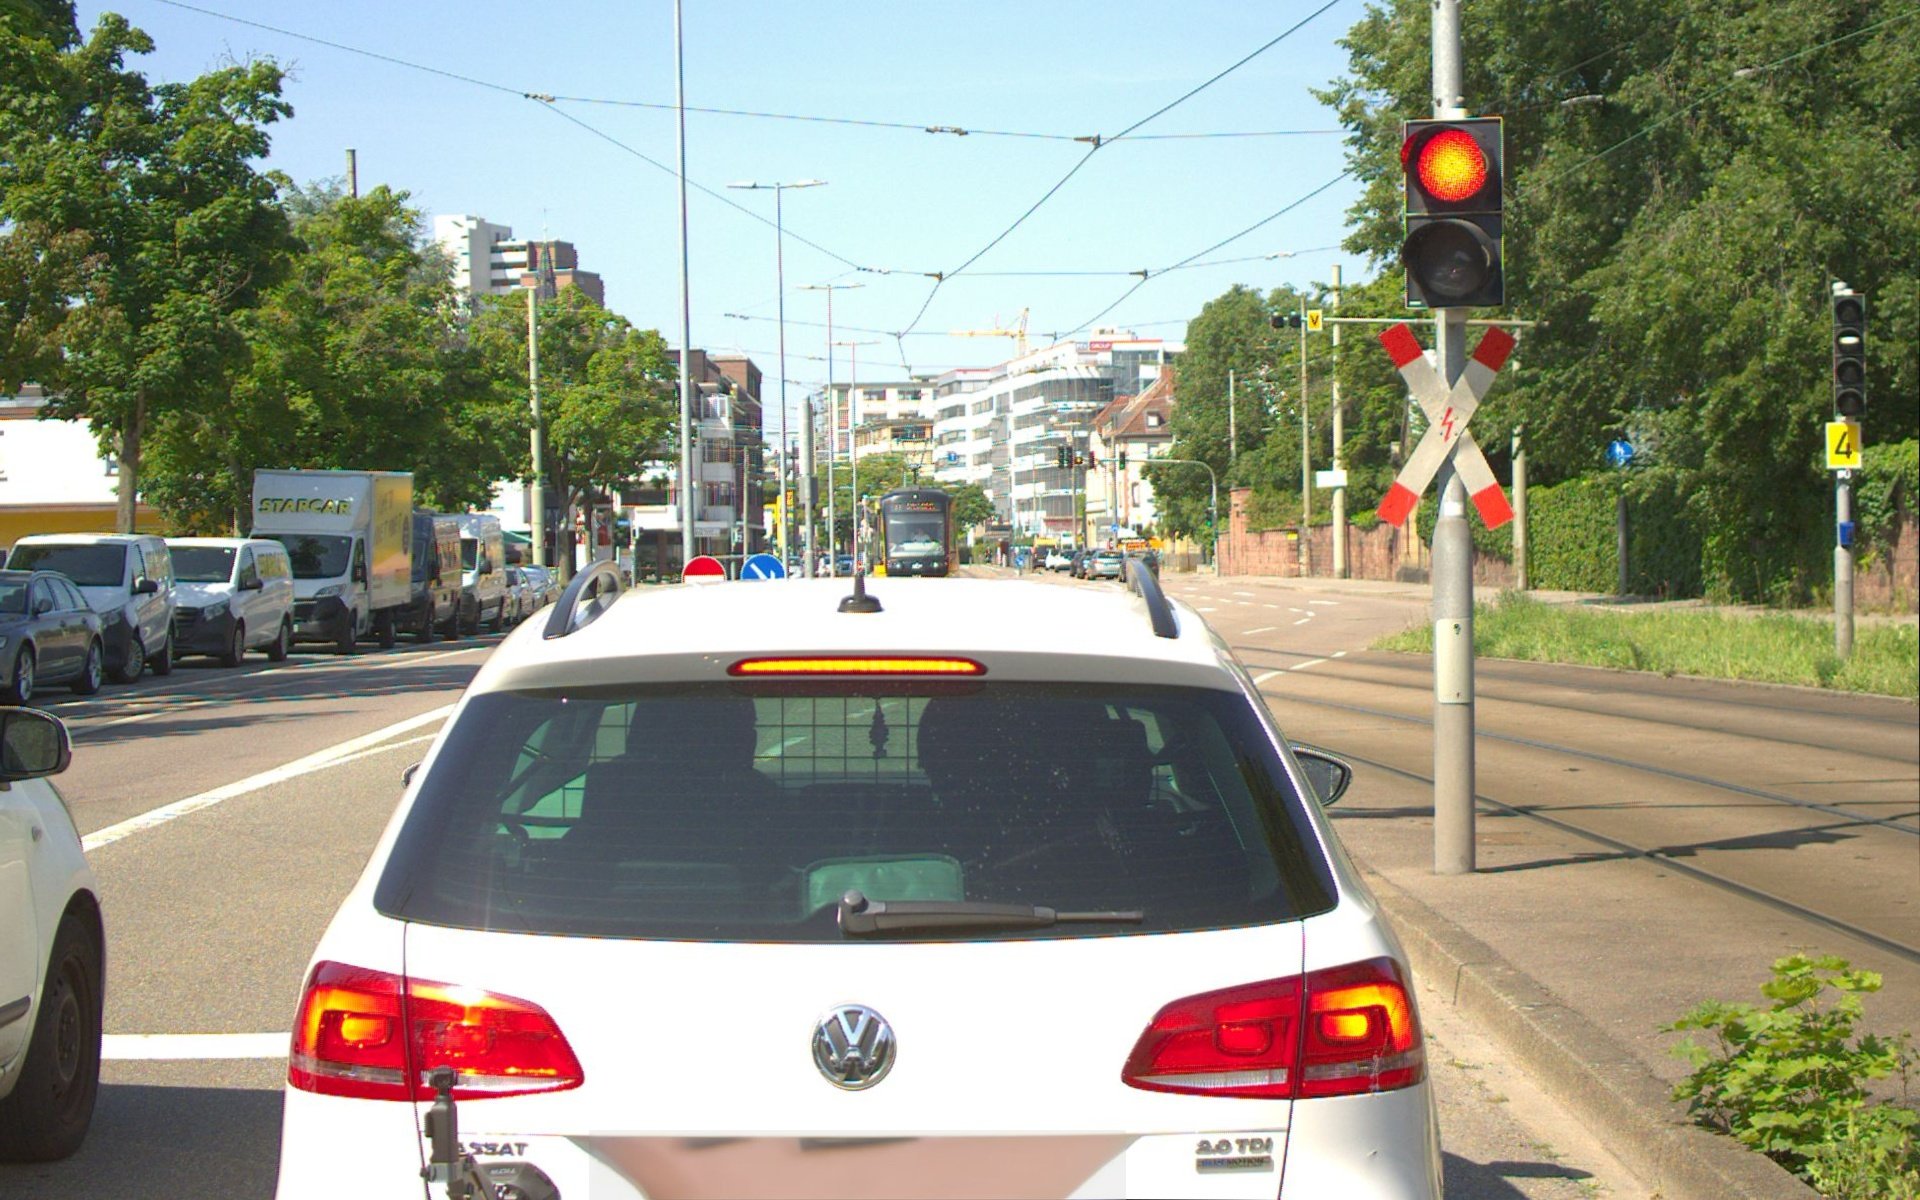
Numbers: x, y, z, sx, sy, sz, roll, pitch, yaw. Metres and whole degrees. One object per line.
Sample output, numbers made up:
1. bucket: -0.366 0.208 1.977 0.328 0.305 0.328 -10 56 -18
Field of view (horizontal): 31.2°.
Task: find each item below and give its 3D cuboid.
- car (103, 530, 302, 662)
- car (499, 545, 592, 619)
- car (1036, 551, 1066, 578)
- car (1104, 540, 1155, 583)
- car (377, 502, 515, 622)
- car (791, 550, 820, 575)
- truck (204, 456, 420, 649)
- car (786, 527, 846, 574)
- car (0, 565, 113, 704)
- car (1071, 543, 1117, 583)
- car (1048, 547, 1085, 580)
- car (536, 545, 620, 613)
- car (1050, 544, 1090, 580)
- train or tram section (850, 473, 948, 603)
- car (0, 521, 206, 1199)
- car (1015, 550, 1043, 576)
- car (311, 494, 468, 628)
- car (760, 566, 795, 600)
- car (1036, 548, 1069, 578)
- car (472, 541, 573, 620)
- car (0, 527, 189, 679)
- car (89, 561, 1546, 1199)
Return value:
1. car: -11.367 -0.110 51.913 1.863 1.861 5.414 1 1 -1
2. car: -11.015 -0.506 91.696 1.863 1.861 5.414 1 1 -1
3. car: 6.449 -2.515 243.589 1.863 1.861 5.062 1 1 -1
4. car: 7.496 -1.732 152.819 1.863 1.861 5.062 1 1 -1
5. car: -11.274 -0.862 75.765 2.123 2.508 5.733 1 1 0
6. car: -9.704 -2.362 215.838 1.705 1.468 4.590 -1 1 -3
7. truck: -11.258 -0.854 60.326 2.421 3.139 6.997 1 1 0
8. car: -4.698 -1.634 112.642 1.705 1.468 4.589 -2 1 1
9. car: -10.966 0.341 38.689 1.863 1.411 4.280 1 1 -1
10. car: 6.545 -1.827 168.369 1.863 1.861 5.062 1 1 -1
11. car: 6.189 -2.138 200.603 1.863 1.861 5.062 1 1 -1
12. car: -10.936 -0.622 98.612 1.863 1.861 5.414 1 1 -1
13. car: 5.895 -2.047 184.983 1.863 1.861 5.062 1 1 -1
14. train or tram section: -1.913 -1.981 109.912 2.870 3.842 12.392 -1 1 -1
15. car: -2.949 0.604 7.316 1.662 1.542 4.547 0 1 0
16. car: 5.192 -2.788 258.436 1.863 1.861 5.062 1 1 -1
17. car: -11.279 -0.792 68.328 2.123 2.508 5.733 1 1 0
18. car: -10.193 -0.955 192.370 1.762 1.889 4.914 1 1 -1
19. car: 5.997 -2.399 223.192 1.863 1.861 5.062 1 1 -1
20. car: -10.764 -0.516 84.879 1.863 1.861 5.414 1 1 -1
21. car: -11.426 -0.016 45.327 1.863 1.861 5.075 1 1 -6
22. car: -0.186 0.680 6.208 1.762 1.425 4.000 -1 1 -1
